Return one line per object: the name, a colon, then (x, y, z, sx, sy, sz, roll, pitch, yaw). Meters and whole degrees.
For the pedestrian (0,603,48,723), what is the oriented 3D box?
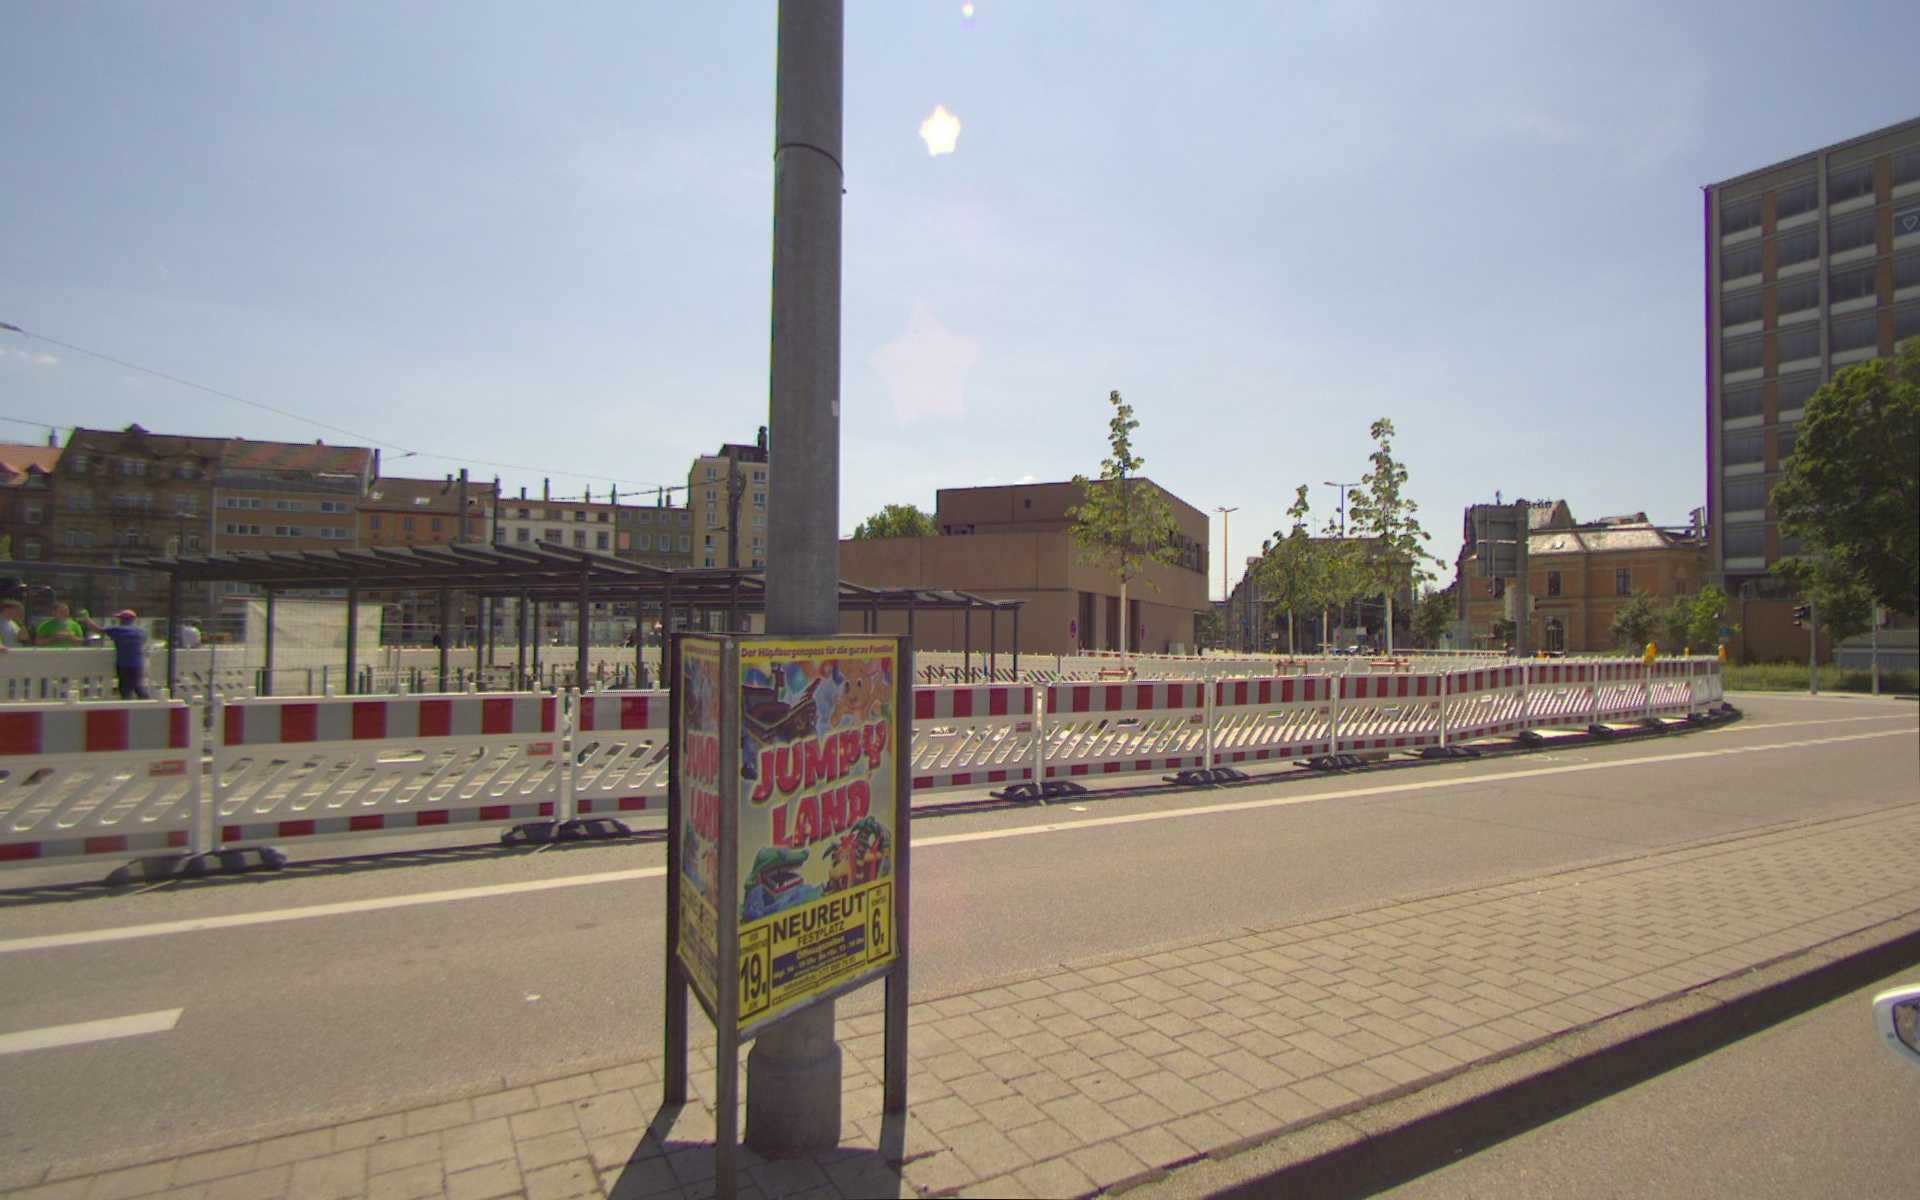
pedestrian: (-14.485, 0.944, 15.306, 0.530, 1.779, 0.660, 2, 0, 15)

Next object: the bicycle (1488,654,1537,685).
bicycle: (21.415, 2.682, 38.968, 0.515, 1.196, 1.894, 1, -3, -12)

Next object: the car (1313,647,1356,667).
car: (30.559, 4.634, 82.032, 1.689, 1.577, 4.587, 1, -3, -1)

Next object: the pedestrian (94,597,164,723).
pedestrian: (-13.141, 0.931, 15.892, 0.679, 1.931, 0.576, 2, 0, 24)

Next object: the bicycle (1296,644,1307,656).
bicycle: (54.964, 8.015, 161.900, 0.602, 1.812, 3.181, 2, 0, -1)

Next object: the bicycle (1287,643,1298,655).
bicycle: (53.556, 7.896, 161.957, 0.602, 1.812, 3.181, 2, 0, -1)

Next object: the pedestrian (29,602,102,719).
pedestrian: (-14.348, 0.945, 16.120, 0.633, 1.812, 0.637, 2, 0, 24)

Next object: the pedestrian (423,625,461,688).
pedestrian: (-17.399, 1.874, 33.736, 0.684, 2.040, 0.877, 2, 0, 29)

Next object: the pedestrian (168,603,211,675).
pedestrian: (-20.813, 1.048, 27.146, 0.685, 1.882, 0.606, 2, 0, 21)

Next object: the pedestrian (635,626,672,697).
pedestrian: (-9.040, 1.788, 29.630, 0.747, 2.040, 0.646, 2, 0, 19)

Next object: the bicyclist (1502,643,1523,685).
bicyclist: (21.435, 2.476, 38.992, 0.522, 1.600, 0.497, 2, -3, -13)

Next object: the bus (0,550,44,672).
bus: (-27.480, 0.150, 22.046, 2.802, 3.094, 10.592, 2, -1, 26)

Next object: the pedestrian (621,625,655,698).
pedestrian: (-9.244, 1.741, 28.852, 0.635, 2.040, 0.646, 2, 0, 18)
